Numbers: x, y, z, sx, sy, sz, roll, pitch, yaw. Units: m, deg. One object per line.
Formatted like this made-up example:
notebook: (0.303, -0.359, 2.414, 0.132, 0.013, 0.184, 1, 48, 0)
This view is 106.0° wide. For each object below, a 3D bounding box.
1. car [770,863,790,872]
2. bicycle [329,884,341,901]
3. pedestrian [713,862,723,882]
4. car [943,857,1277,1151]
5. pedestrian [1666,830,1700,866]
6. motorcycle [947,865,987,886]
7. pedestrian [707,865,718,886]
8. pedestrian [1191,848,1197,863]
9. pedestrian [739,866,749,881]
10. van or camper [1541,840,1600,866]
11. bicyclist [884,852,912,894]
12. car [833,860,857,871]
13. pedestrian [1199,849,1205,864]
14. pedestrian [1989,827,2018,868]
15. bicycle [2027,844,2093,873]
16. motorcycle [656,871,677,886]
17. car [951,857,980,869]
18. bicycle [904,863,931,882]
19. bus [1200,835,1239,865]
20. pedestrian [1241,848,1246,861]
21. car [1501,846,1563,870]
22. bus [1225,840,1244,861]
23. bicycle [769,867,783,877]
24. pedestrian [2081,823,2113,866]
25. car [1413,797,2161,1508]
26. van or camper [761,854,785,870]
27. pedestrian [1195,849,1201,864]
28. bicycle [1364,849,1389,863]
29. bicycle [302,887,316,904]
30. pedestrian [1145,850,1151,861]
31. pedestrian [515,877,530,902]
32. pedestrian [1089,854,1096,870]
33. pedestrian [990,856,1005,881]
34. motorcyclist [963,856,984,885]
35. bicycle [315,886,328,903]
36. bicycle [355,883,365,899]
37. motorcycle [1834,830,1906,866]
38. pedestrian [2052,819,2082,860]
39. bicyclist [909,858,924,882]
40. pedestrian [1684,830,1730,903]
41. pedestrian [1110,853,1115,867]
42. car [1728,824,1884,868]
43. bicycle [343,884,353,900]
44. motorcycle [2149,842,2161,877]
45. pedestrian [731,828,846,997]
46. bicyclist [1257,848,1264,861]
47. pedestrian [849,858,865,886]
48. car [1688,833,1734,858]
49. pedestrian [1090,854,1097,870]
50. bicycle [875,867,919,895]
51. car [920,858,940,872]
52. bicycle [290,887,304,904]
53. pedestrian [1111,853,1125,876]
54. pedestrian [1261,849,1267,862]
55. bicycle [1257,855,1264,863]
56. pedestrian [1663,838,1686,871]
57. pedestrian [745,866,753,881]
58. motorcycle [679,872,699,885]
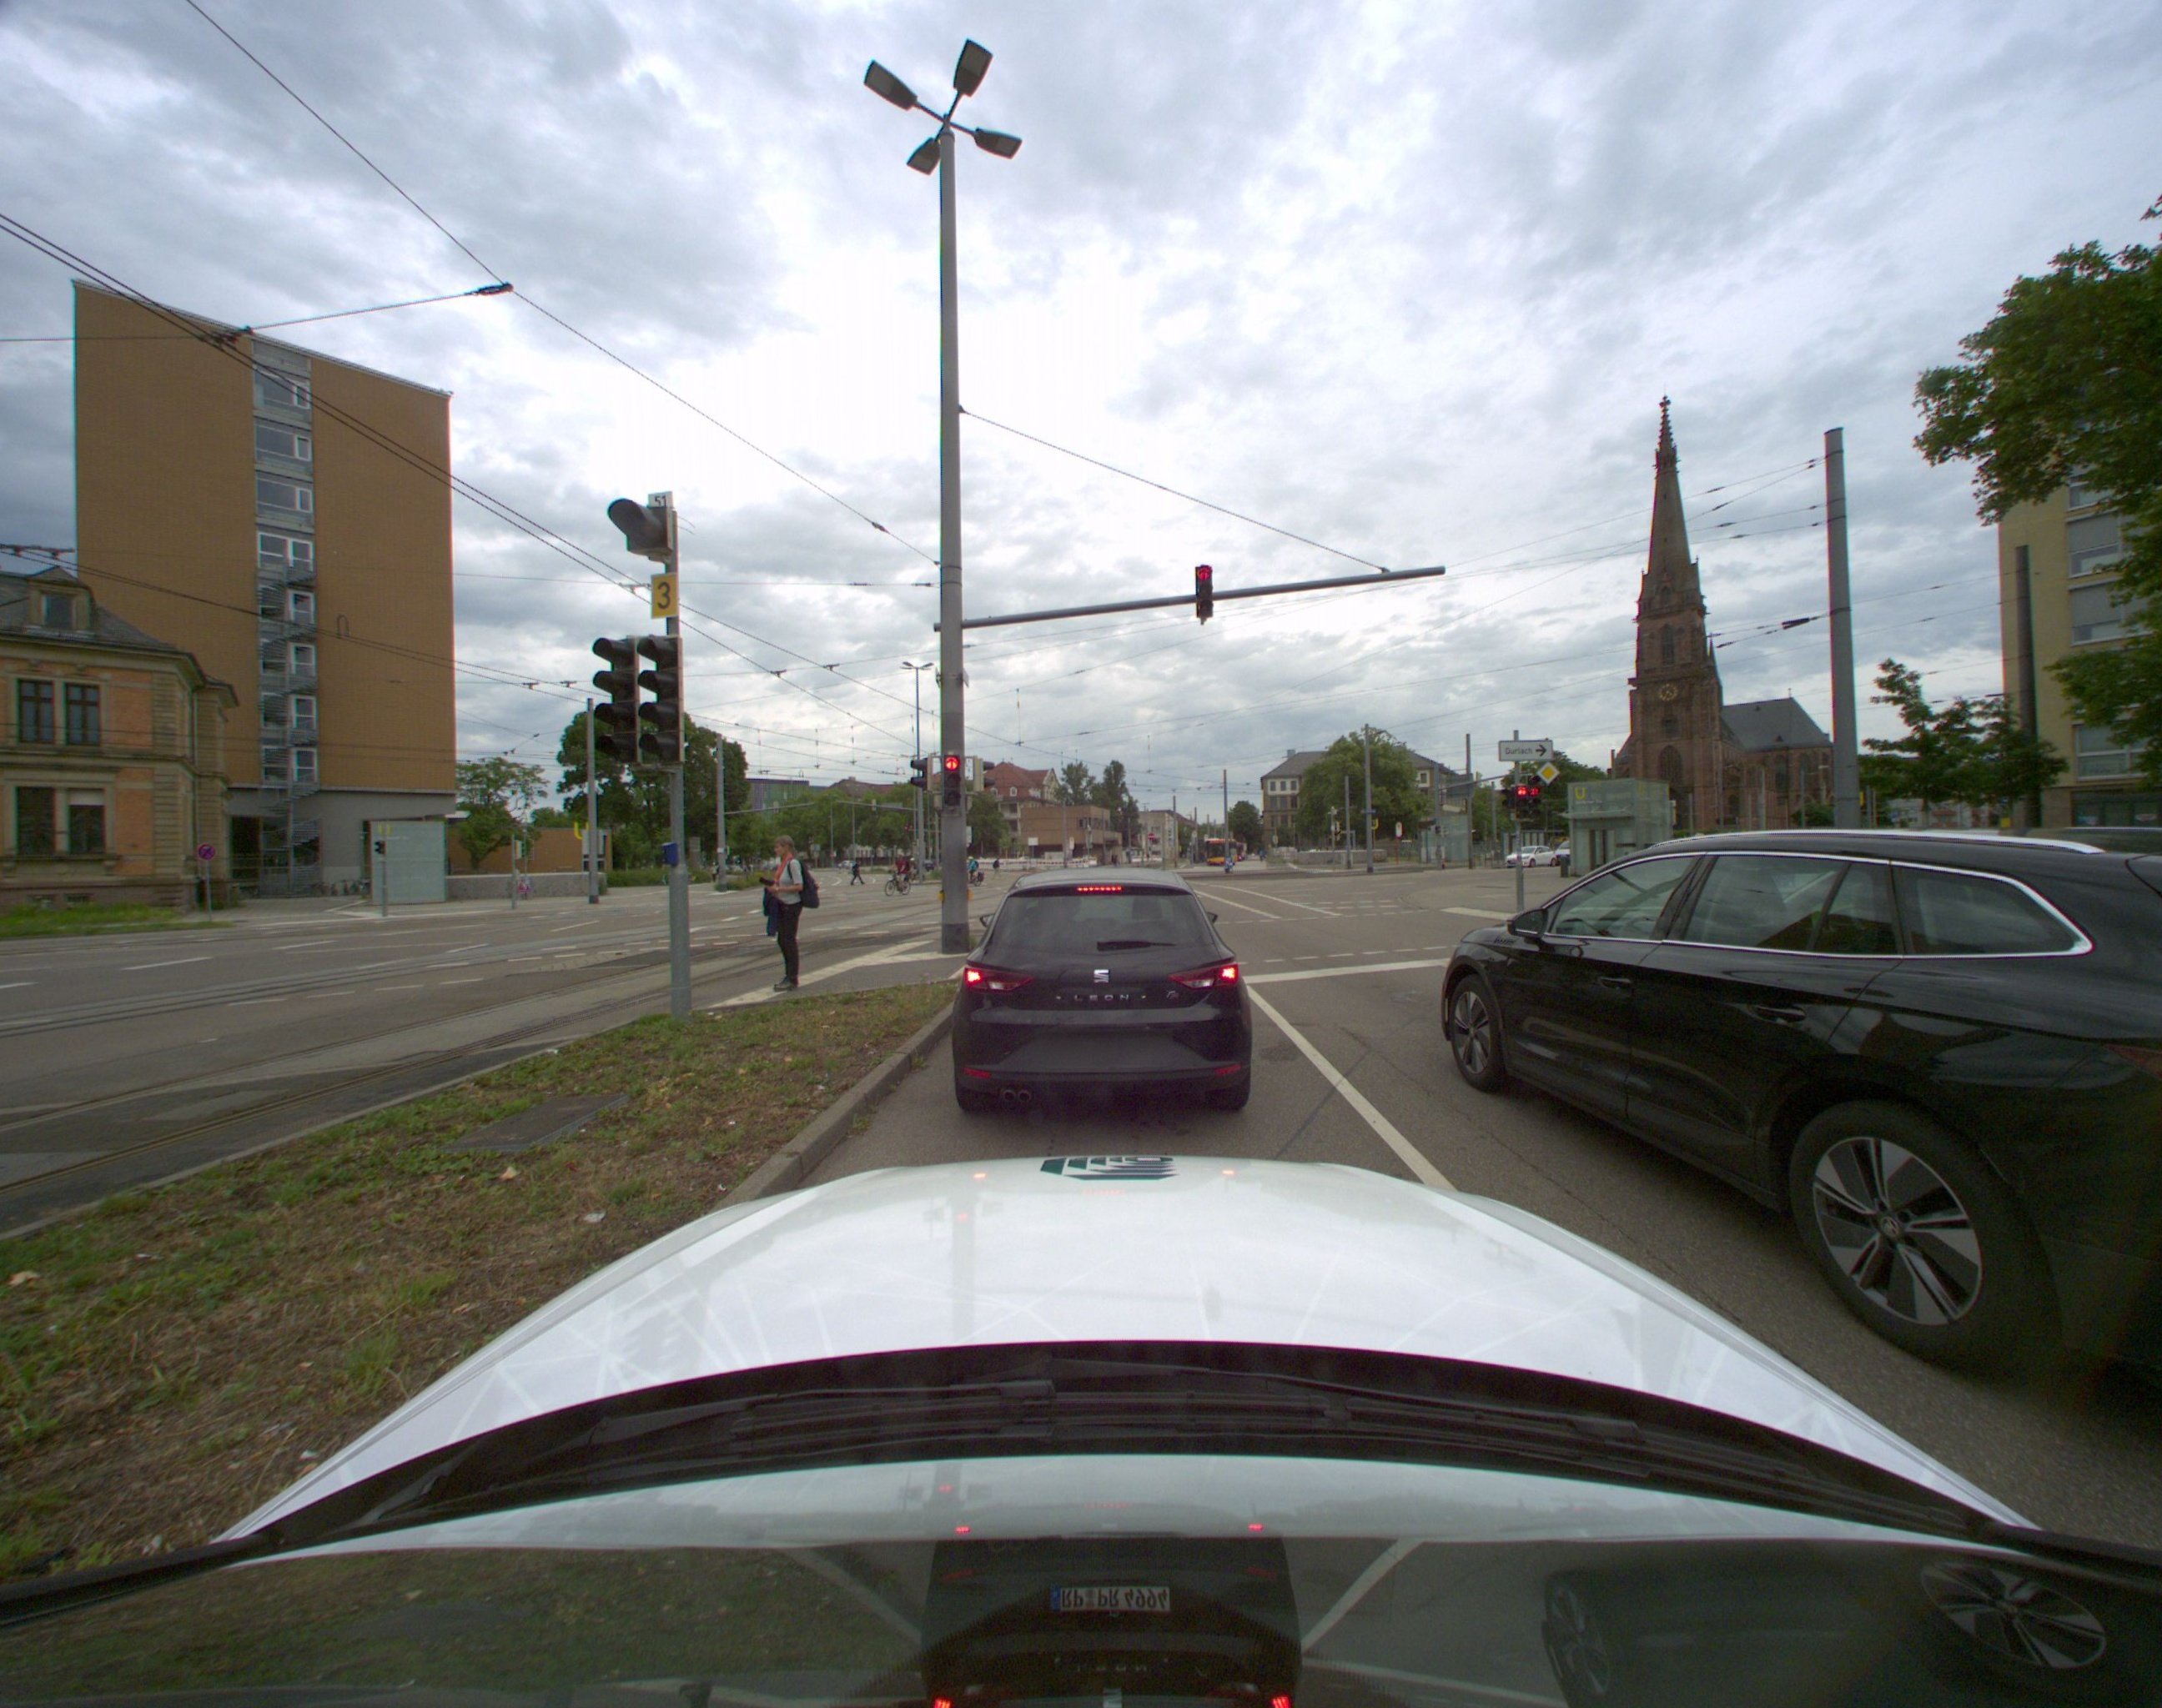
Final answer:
car: (-53.603, 2.398, 144.919, 1.792, 1.464, 3.950, -1, 0, -45)
bicycle: (-51.155, 2.635, 55.838, 0.575, 1.106, 1.411, -1, 0, -41)
pedestrian: (-37.545, 1.863, 84.259, 0.799, 1.981, 0.872, -1, -2, -33)
car: (0.092, 0.774, 6.106, 1.700, 1.449, 3.809, -1, 0, -2)
pedestrian: (31.258, -0.294, 42.281, 0.950, 1.797, 1.076, -1, -2, -34)
motorcycle: (-6.619, 1.218, 47.385, 2.149, 1.139, 0.737, -1, 0, -31)
pedestrian: (-34.299, 2.011, 75.714, 0.799, 1.981, 0.872, -1, -2, -33)
pedestrian: (14.421, 0.142, 103.913, 0.617, 1.918, 0.701, -2, 0, 11)
pedestrian: (-44.017, 2.514, 106.464, 0.874, 1.981, 0.797, -2, -2, 5)
van or camper: (35.275, -0.087, 58.679, 4.321, 1.742, 1.979, -1, -2, -34)
bicyclist: (-8.470, 0.859, 37.710, 0.768, 1.898, 1.003, -2, 0, 30)
car: (-42.261, 2.075, 145.637, 3.950, 1.772, 1.726, -2, 0, 27)
pedestrian: (15.494, 0.344, 104.302, 0.617, 1.918, 0.701, -2, 0, 11)
pedestrian: (37.585, -0.272, 33.177, 0.875, 1.638, 0.631, -1, 0, -31)
bicycle: (31.508, 0.142, 26.230, 0.596, 0.917, 1.253, -1, 0, -28)
motorcycle: (-35.444, 2.084, 69.600, 1.481, 1.268, 0.505, -1, 0, -44)
car: (-17.581, 1.364, 123.657, 3.970, 1.684, 2.001, -2, -1, 3)
bicycle: (-11.639, 1.293, 57.940, 1.738, 1.321, 0.640, -1, 0, -24)
bus: (15.967, -0.427, 93.273, 2.938, 3.123, 11.589, -2, 0, 16)
pedestrian: (24.444, 0.106, 122.415, 0.659, 2.013, 0.692, -2, 0, 2)
car: (30.383, 0.272, 54.848, 4.011, 1.464, 1.758, -1, -2, -30)
bus: (25.734, -0.587, 136.283, 2.635, 3.283, 11.034, -2, 0, 13)
bicycle: (-41.386, 2.438, 110.600, 0.937, 1.179, 2.728, -2, 0, -1)
pedestrian: (39.078, -0.357, 31.326, 0.875, 1.638, 0.631, -1, 0, -31)
car: (3.325, 0.653, 3.770, 1.771, 1.597, 4.510, -1, 0, 1)
van or camper: (-62.824, 1.735, 165.992, 5.434, 3.124, 2.410, -2, 0, 43)
pedestrian: (15.154, 0.351, 105.366, 0.618, 1.918, 0.711, -2, 0, 5)
bicycle: (29.659, 0.186, 81.725, 2.248, 1.331, 0.709, -2, -2, 9)
bicycle: (-52.086, 2.774, 54.956, 0.575, 1.106, 1.411, -1, 0, -41)
pedestrian: (11.325, 0.293, 137.469, 0.615, 1.918, 0.715, -3, -2, 27)
pedestrian: (-30.717, 1.970, 44.773, 0.492, 1.336, 0.577, -2, -1, 41)
pedestrian: (1.351, 0.942, 96.728, 0.704, 1.918, 0.625, -2, 0, 9)
pedestrian: (-6.567, 1.138, 64.028, 1.032, 1.934, 0.695, -2, 0, -24)
motorcyclist: (-6.298, 0.943, 47.592, 0.984, 1.649, 0.742, -1, -1, -31)
bicycle: (-51.639, 2.775, 55.361, 0.575, 1.106, 1.411, -1, 0, -41)
bicycle: (-50.238, 2.596, 56.721, 0.484, 1.049, 1.411, -1, 0, -41)
motorcycle: (26.953, -0.210, 27.811, 2.386, 1.168, 0.762, -1, 0, -19)
pedestrian: (39.435, -0.571, 32.558, 0.875, 1.638, 0.631, -1, 0, -32)
bicyclist: (-11.702, 1.116, 57.915, 0.858, 1.673, 0.649, -1, 0, -23)
pedestrian: (17.083, 0.328, 22.218, 0.878, 1.930, 1.023, -1, 0, 43)
pedestrian: (4.431, 0.862, 113.793, 0.618, 1.918, 0.711, -2, 0, 5)
car: (37.660, -0.391, 42.517, 5.672, 2.014, 2.038, -2, -2, 19)
bicycle: (-50.651, 2.626, 56.282, 0.512, 1.049, 1.411, -1, 0, -41)
motorcycle: (31.814, 0.149, 23.652, 1.020, 0.997, 0.863, -1, 0, -42)
pedestrian: (-3.524, 0.666, 9.840, 1.110, 1.907, 0.727, 0, -1, -41)
bicyclist: (25.277, 0.087, 114.459, 0.865, 1.851, 1.052, -2, 0, 14)
pedestrian: (-16.464, 1.301, 59.821, 1.023, 2.013, 0.841, -1, 0, -18)
car: (53.571, -0.724, 69.190, 4.017, 2.013, 1.978, -1, 0, -36)
pedestrian: (1.508, 0.955, 97.521, 0.704, 1.918, 0.625, -2, 0, 9)
bicycle: (-8.496, 1.228, 37.651, 0.767, 1.184, 2.045, -2, 0, 30)
car: (-19.567, 1.384, 105.422, 2.000, 1.684, 3.973, -1, -1, -20)
bicycle: (-52.536, 2.788, 54.551, 0.575, 1.106, 1.411, -1, 0, -41)
pedestrian: (3.244, 0.891, 71.048, 0.692, 1.934, 1.037, -2, 0, 40)
pedestrian: (29.996, 0.213, 133.466, 0.659, 2.013, 0.692, -2, 0, 2)
bicycle: (25.274, 0.702, 114.371, 0.859, 1.104, 2.310, -1, 0, 14)
pedestrian: (29.861, 0.020, 40.948, 0.875, 1.638, 0.631, -1, 0, -32)
pedestrian: (-42.950, 2.522, 105.328, 0.880, 1.981, 0.791, -1, -2, -17)
motorcycle: (-34.417, 2.169, 71.504, 0.506, 1.111, 1.751, -2, 0, 15)
